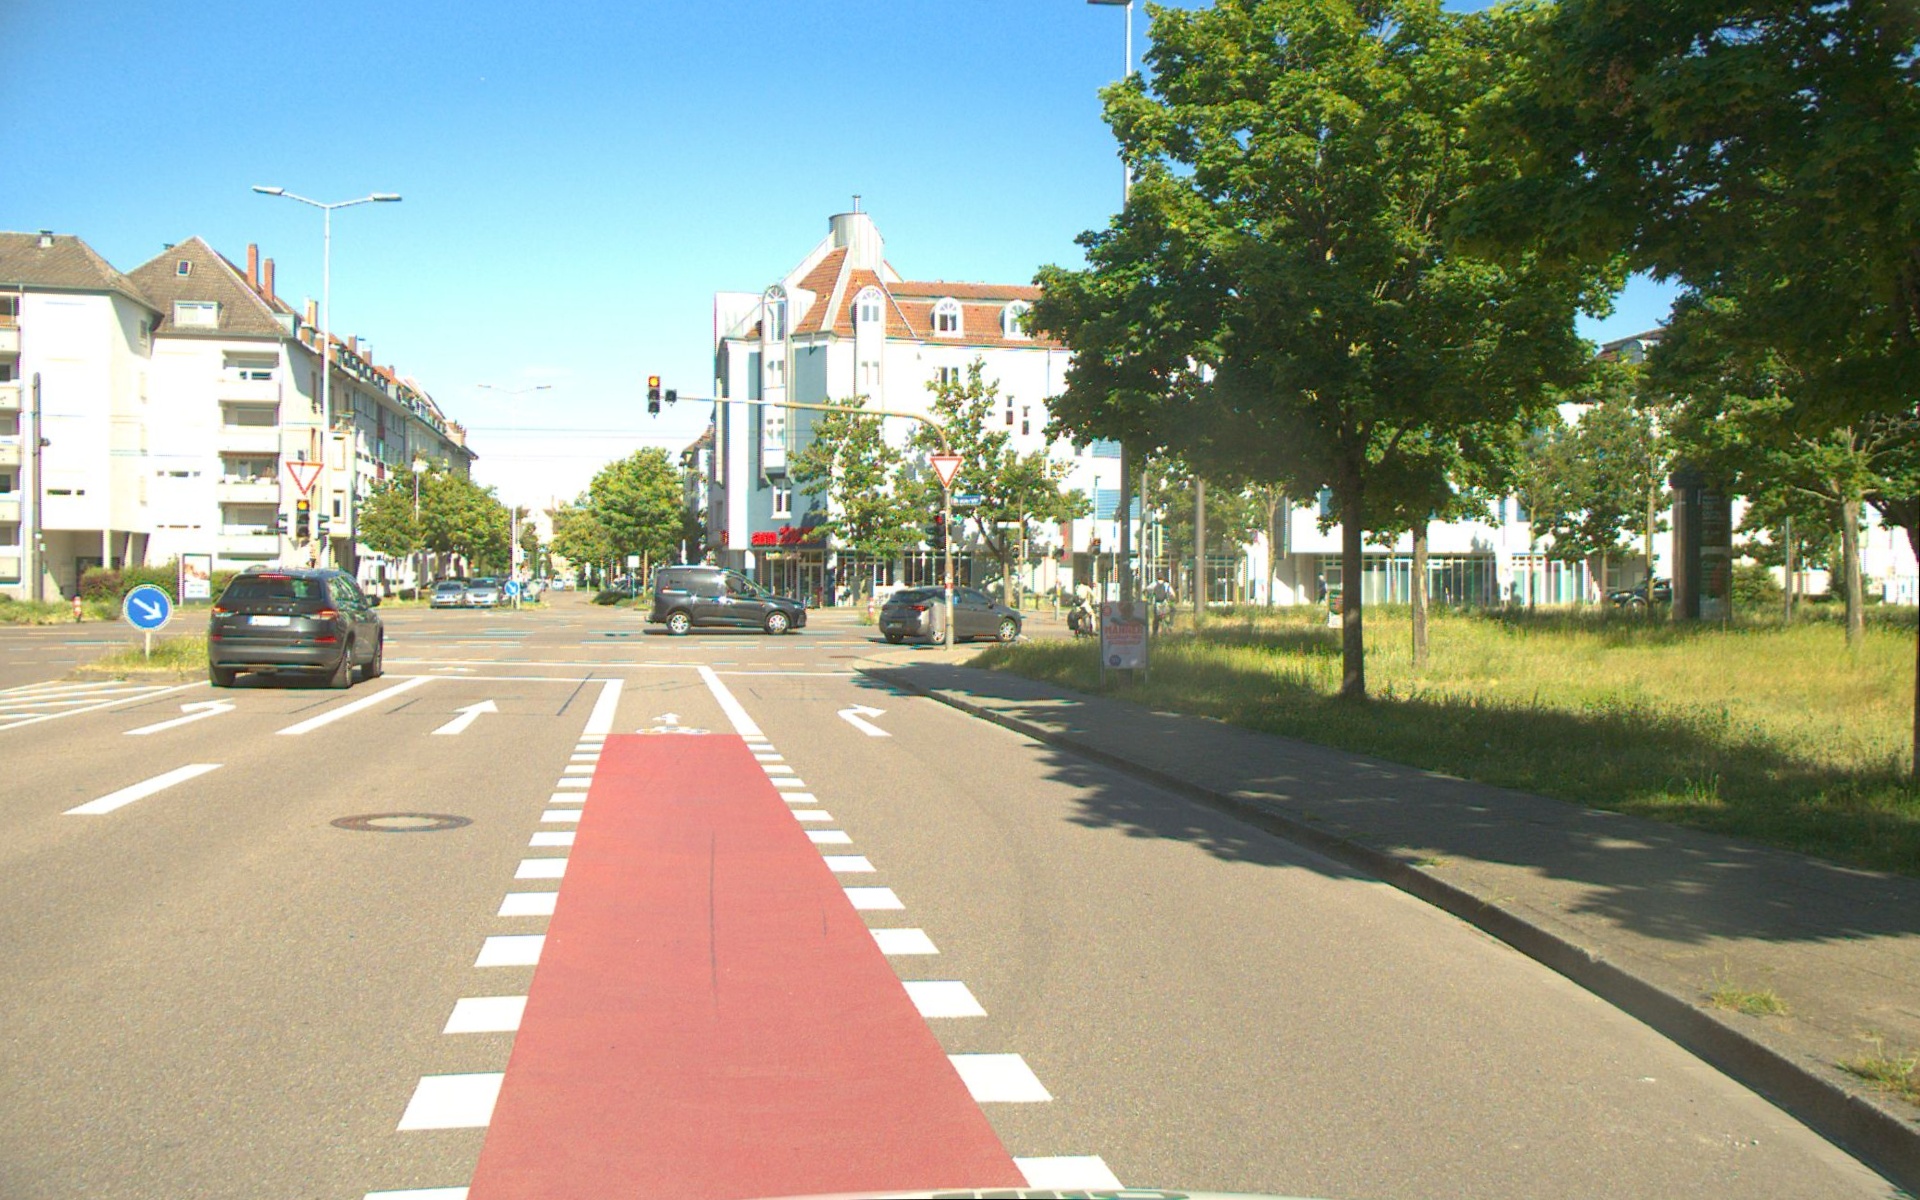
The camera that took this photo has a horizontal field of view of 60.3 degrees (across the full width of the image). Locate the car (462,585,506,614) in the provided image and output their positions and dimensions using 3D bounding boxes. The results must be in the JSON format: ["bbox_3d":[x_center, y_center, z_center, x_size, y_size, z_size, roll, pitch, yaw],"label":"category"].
[{"bbox_3d":[-25.329,-0.032,88.141,1.657,1.457,4.391,2,0,-9],"label":"car"}]

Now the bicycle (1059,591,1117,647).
[{"bbox_3d":[3.307,0.466,42.463,0.775,1.371,2.077,0,0,26],"label":"bicycle"}]

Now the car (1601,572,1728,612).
[{"bbox_3d":[29.238,-0.353,68.721,4.410,1.637,1.999,0,0,-2],"label":"car"}]

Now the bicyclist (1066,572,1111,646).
[{"bbox_3d":[3.293,0.223,42.430,0.775,1.856,1.134,0,0,26],"label":"bicyclist"}]

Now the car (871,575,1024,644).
[{"bbox_3d":[-0.299,0.259,42.936,3.840,1.605,1.667,3,-1,-44],"label":"car"}]

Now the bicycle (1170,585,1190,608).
[{"bbox_3d":[11.753,-0.171,88.398,0.550,1.203,1.865,0,1,-10],"label":"bicycle"}]

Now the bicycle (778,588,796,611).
[{"bbox_3d":[-8.033,-0.010,76.711,0.465,1.045,1.506,0,1,-22],"label":"bicycle"}]

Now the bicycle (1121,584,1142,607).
[{"bbox_3d":[9.120,-0.234,87.970,0.550,1.203,1.864,0,1,-12],"label":"bicycle"}]

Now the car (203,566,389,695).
[{"bbox_3d":[-9.575,0.398,24.195,1.723,1.656,4.464,2,0,-12],"label":"car"}]

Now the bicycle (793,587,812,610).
[{"bbox_3d":[-7.387,-0.086,77.372,0.465,1.045,1.505,0,1,-23],"label":"bicycle"}]

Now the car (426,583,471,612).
[{"bbox_3d":[-28.102,-0.142,90.895,1.657,1.457,4.391,2,0,-9],"label":"car"}]

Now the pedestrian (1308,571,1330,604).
[{"bbox_3d":[19.269,-0.694,88.724,0.972,1.753,0.652,0,0,-13],"label":"pedestrian"}]

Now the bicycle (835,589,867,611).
[{"bbox_3d":[-5.239,0.017,79.581,1.480,1.045,0.473,0,0,-1],"label":"bicycle"}]

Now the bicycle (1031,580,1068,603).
[{"bbox_3d":[4.646,-0.429,85.859,1.833,1.203,0.560,0,0,-16],"label":"bicycle"}]

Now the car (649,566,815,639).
[{"bbox_3d":[-6.420,0.084,46.472,4.407,1.832,1.758,3,0,-15],"label":"car"}]

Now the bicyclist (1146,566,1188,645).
[{"bbox_3d":[5.318,0.128,42.379,0.775,1.993,1.010,0,0,26],"label":"bicyclist"}]

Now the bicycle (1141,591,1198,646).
[{"bbox_3d":[5.410,0.455,42.567,0.775,1.371,2.260,0,0,26],"label":"bicycle"}]
